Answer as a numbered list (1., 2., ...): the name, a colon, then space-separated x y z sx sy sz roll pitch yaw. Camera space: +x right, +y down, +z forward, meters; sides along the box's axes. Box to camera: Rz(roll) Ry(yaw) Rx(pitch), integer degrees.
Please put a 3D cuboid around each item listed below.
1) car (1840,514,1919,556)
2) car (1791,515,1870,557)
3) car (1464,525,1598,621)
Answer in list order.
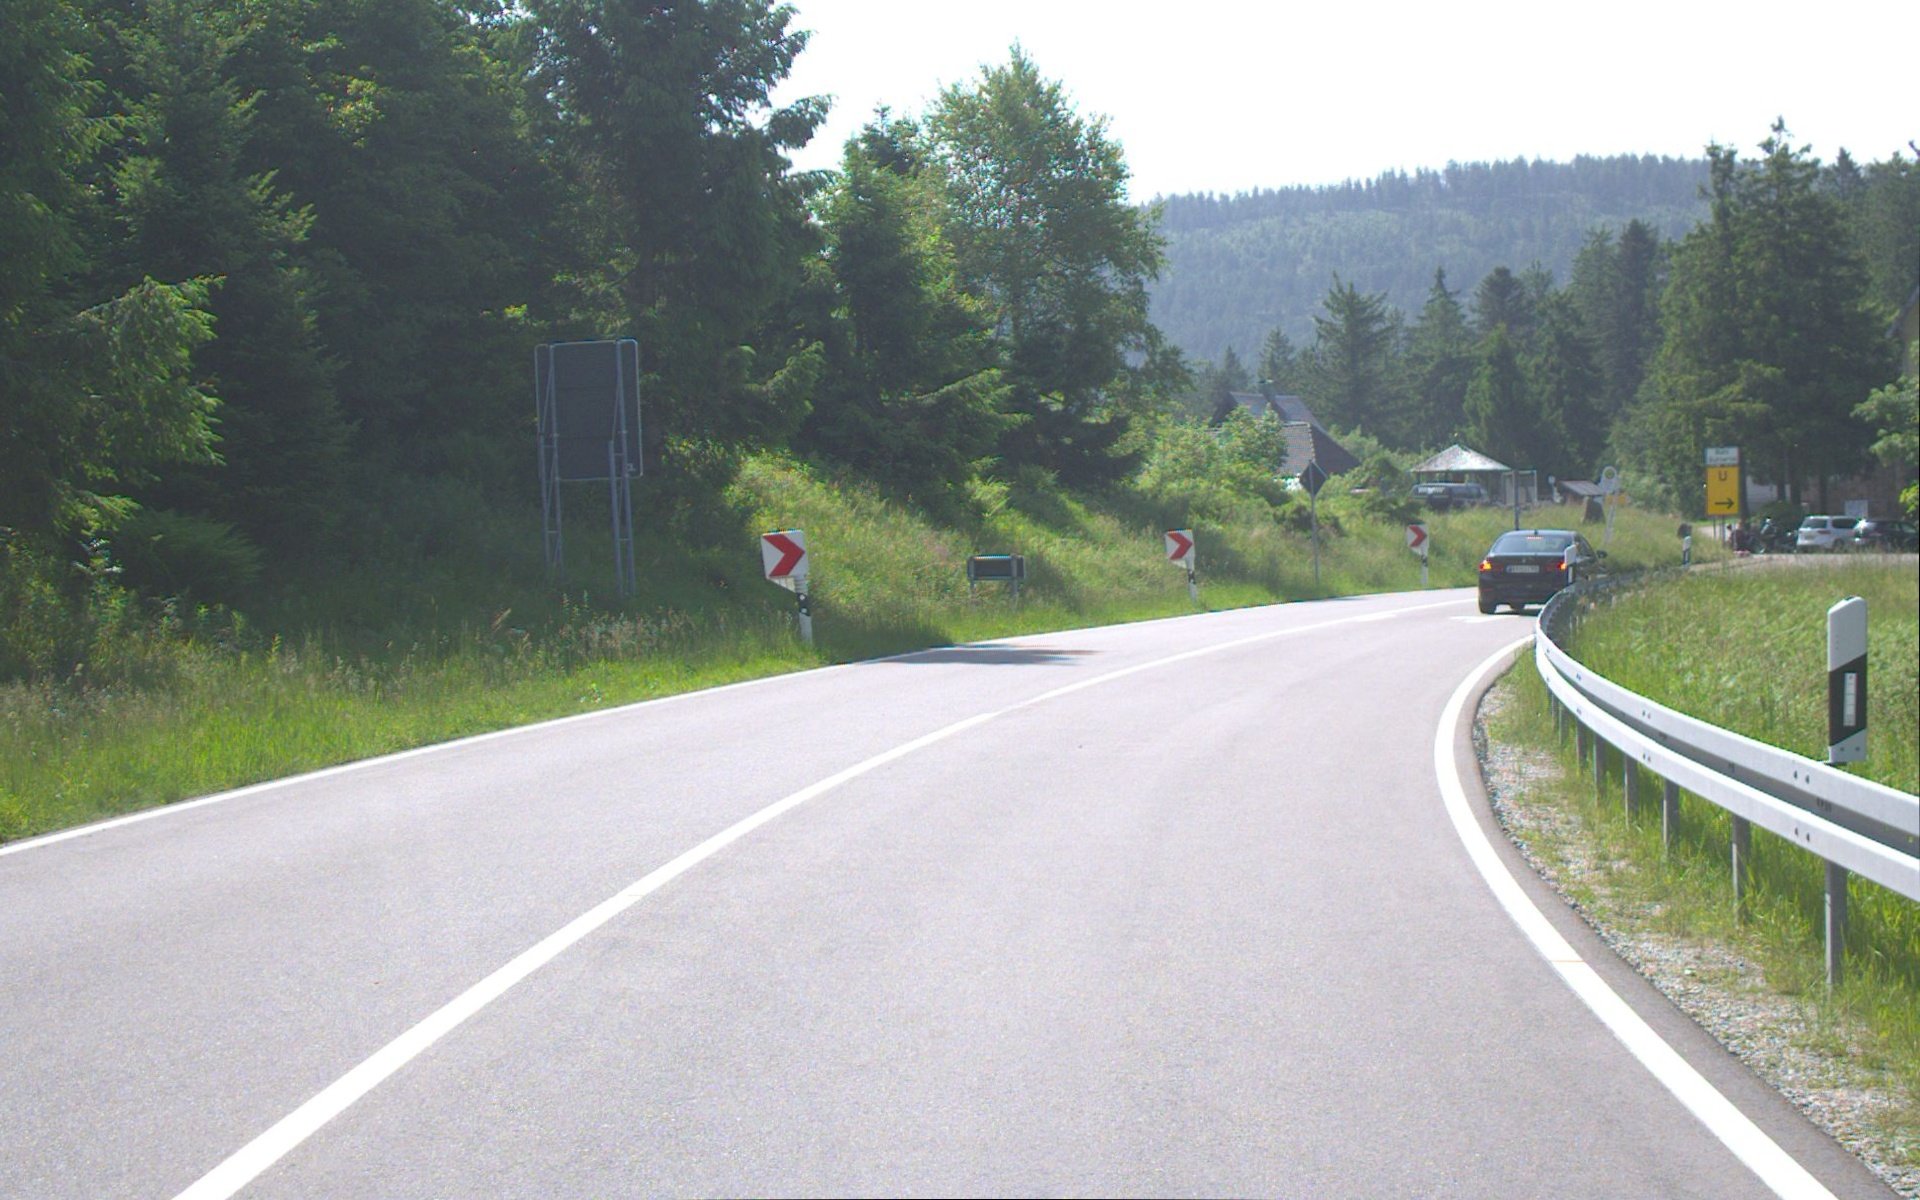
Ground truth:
1. car: 38.519 -2.725 143.820 1.892 1.642 4.287 -1 1 34
2. car: 36.940 -2.713 145.791 1.858 1.665 4.376 -1 1 34
3. car: 9.807 -0.486 58.871 1.777 1.437 3.706 3 3 16
